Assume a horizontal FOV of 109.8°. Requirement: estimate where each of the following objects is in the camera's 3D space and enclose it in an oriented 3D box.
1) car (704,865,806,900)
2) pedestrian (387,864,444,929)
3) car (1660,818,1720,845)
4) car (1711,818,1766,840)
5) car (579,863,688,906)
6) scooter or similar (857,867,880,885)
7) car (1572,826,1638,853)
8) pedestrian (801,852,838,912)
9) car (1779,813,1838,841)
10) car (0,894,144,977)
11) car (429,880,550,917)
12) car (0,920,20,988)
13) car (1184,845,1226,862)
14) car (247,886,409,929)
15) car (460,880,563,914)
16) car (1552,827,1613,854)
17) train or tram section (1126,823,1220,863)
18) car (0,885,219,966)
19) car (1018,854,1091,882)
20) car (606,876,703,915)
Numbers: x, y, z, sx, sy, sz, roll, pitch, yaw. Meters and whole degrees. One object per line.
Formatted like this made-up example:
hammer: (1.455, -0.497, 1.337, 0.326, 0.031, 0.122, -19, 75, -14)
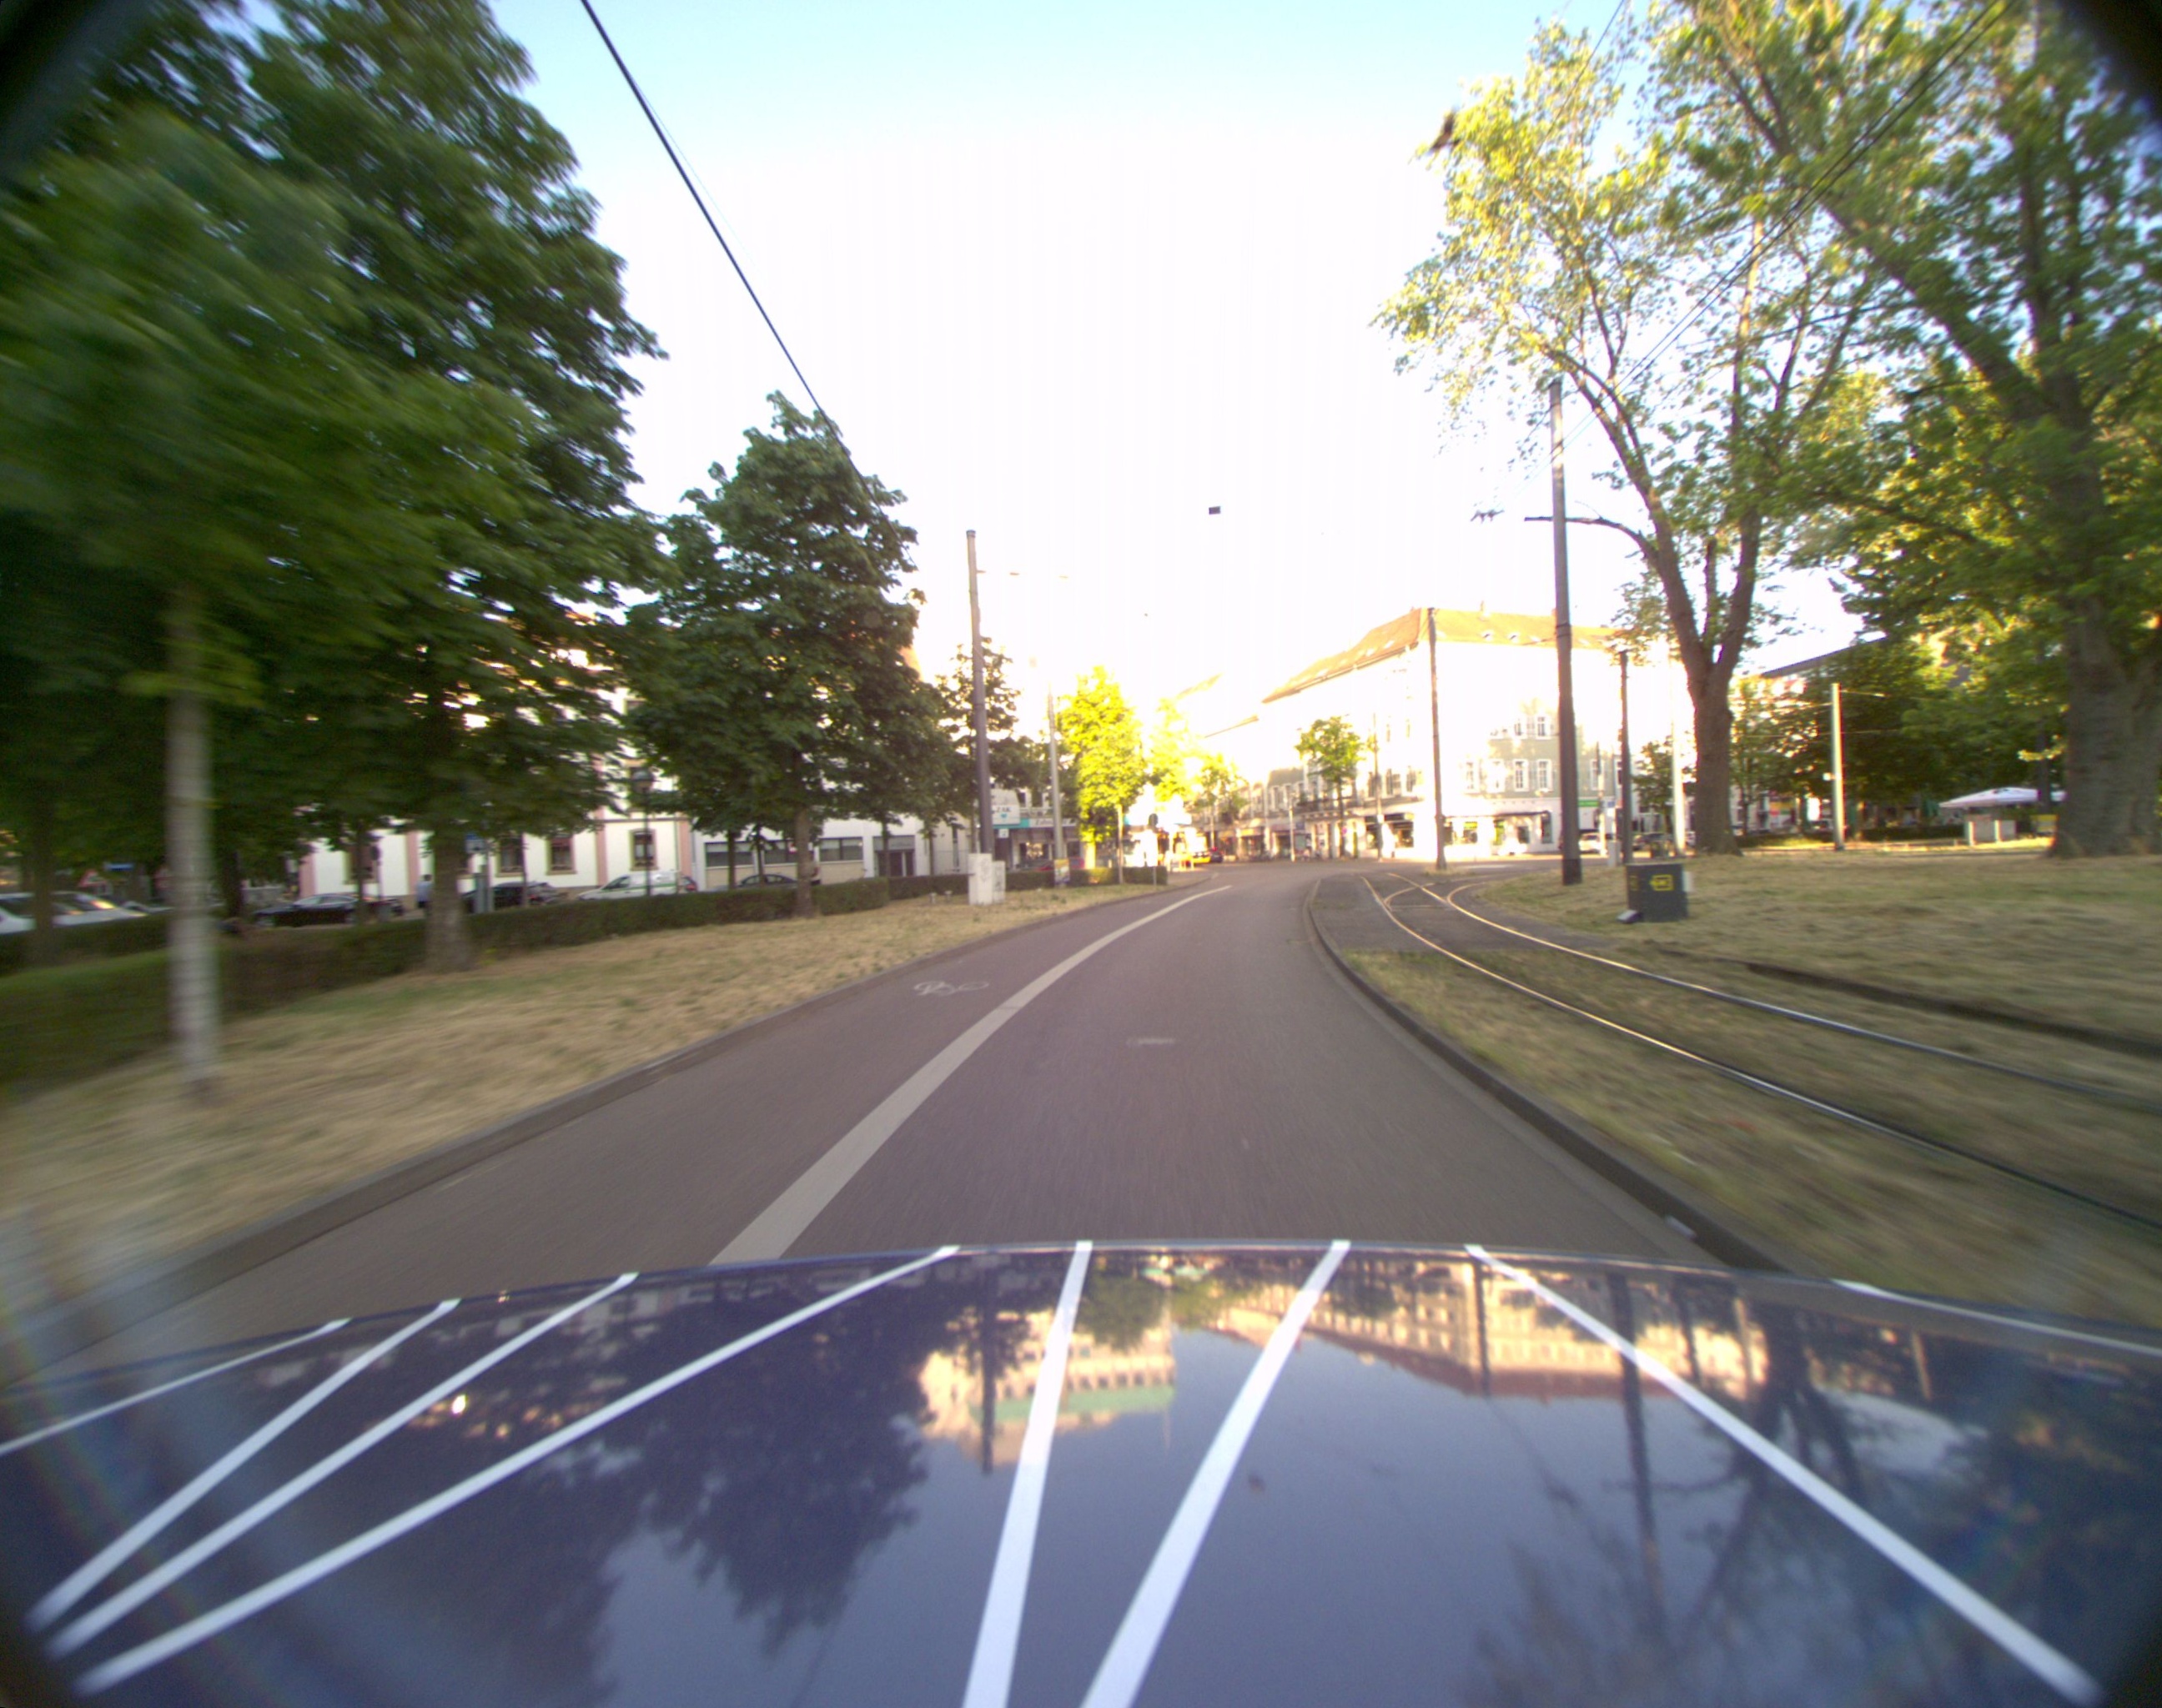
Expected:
car: (-15.586, 1.335, 36.549, 4.326, 1.402, 1.803, -3, 2, -20)
pedestrian: (-21.582, 1.361, 24.652, 0.828, 2.002, 1.010, -3, 0, 11)
car: (49.005, -1.804, 61.171, 4.004, 1.892, 1.997, -3, 0, -22)
car: (56.664, -2.167, 65.491, 4.004, 1.696, 1.857, -3, 0, -22)
car: (-20.535, 1.389, 35.032, 4.017, 1.714, 1.699, -3, 0, -20)
scooter or similar: (-12.893, 1.322, 46.111, 1.181, 1.026, 0.488, -3, 0, 1)
car: (37.036, -1.031, 53.719, 4.004, 1.696, 1.857, -3, 0, -22)
pedestrian: (-7.276, 0.784, 21.127, 0.612, 1.615, 0.652, -3, 0, 29)
car: (58.207, -2.163, 60.815, 4.004, 1.987, 1.857, -3, 0, -22)
car: (-27.761, 2.109, 18.985, 5.085, 1.891, 2.119, -3, 0, -17)
car: (-25.759, 1.928, 33.241, 3.786, 1.328, 1.725, -3, 0, -20)
car: (-26.488, 2.372, 16.147, 4.073, 1.542, 1.996, -2, -1, -25)
car: (12.832, -0.092, 78.809, 2.002, 1.674, 4.733, -3, 2, -24)
car: (-31.050, 2.167, 31.512, 4.399, 1.411, 1.725, -3, 0, -20)
car: (-28.224, 2.091, 37.766, 3.679, 1.441, 1.699, -3, 0, -18)
car: (39.569, -1.067, 59.976, 4.004, 1.892, 1.997, -3, 0, -22)
train or tram section: (8.741, -0.981, 74.903, 2.953, 3.564, 13.342, -3, 1, -22)
car: (-29.050, 2.044, 21.997, 5.085, 2.010, 1.965, -3, 0, -17)
car: (-1.633, 0.842, 46.464, 4.003, 1.441, 1.846, -3, 0, -20)
car: (-21.979, 2.111, 39.317, 4.016, 1.714, 1.699, -3, 0, -18)
